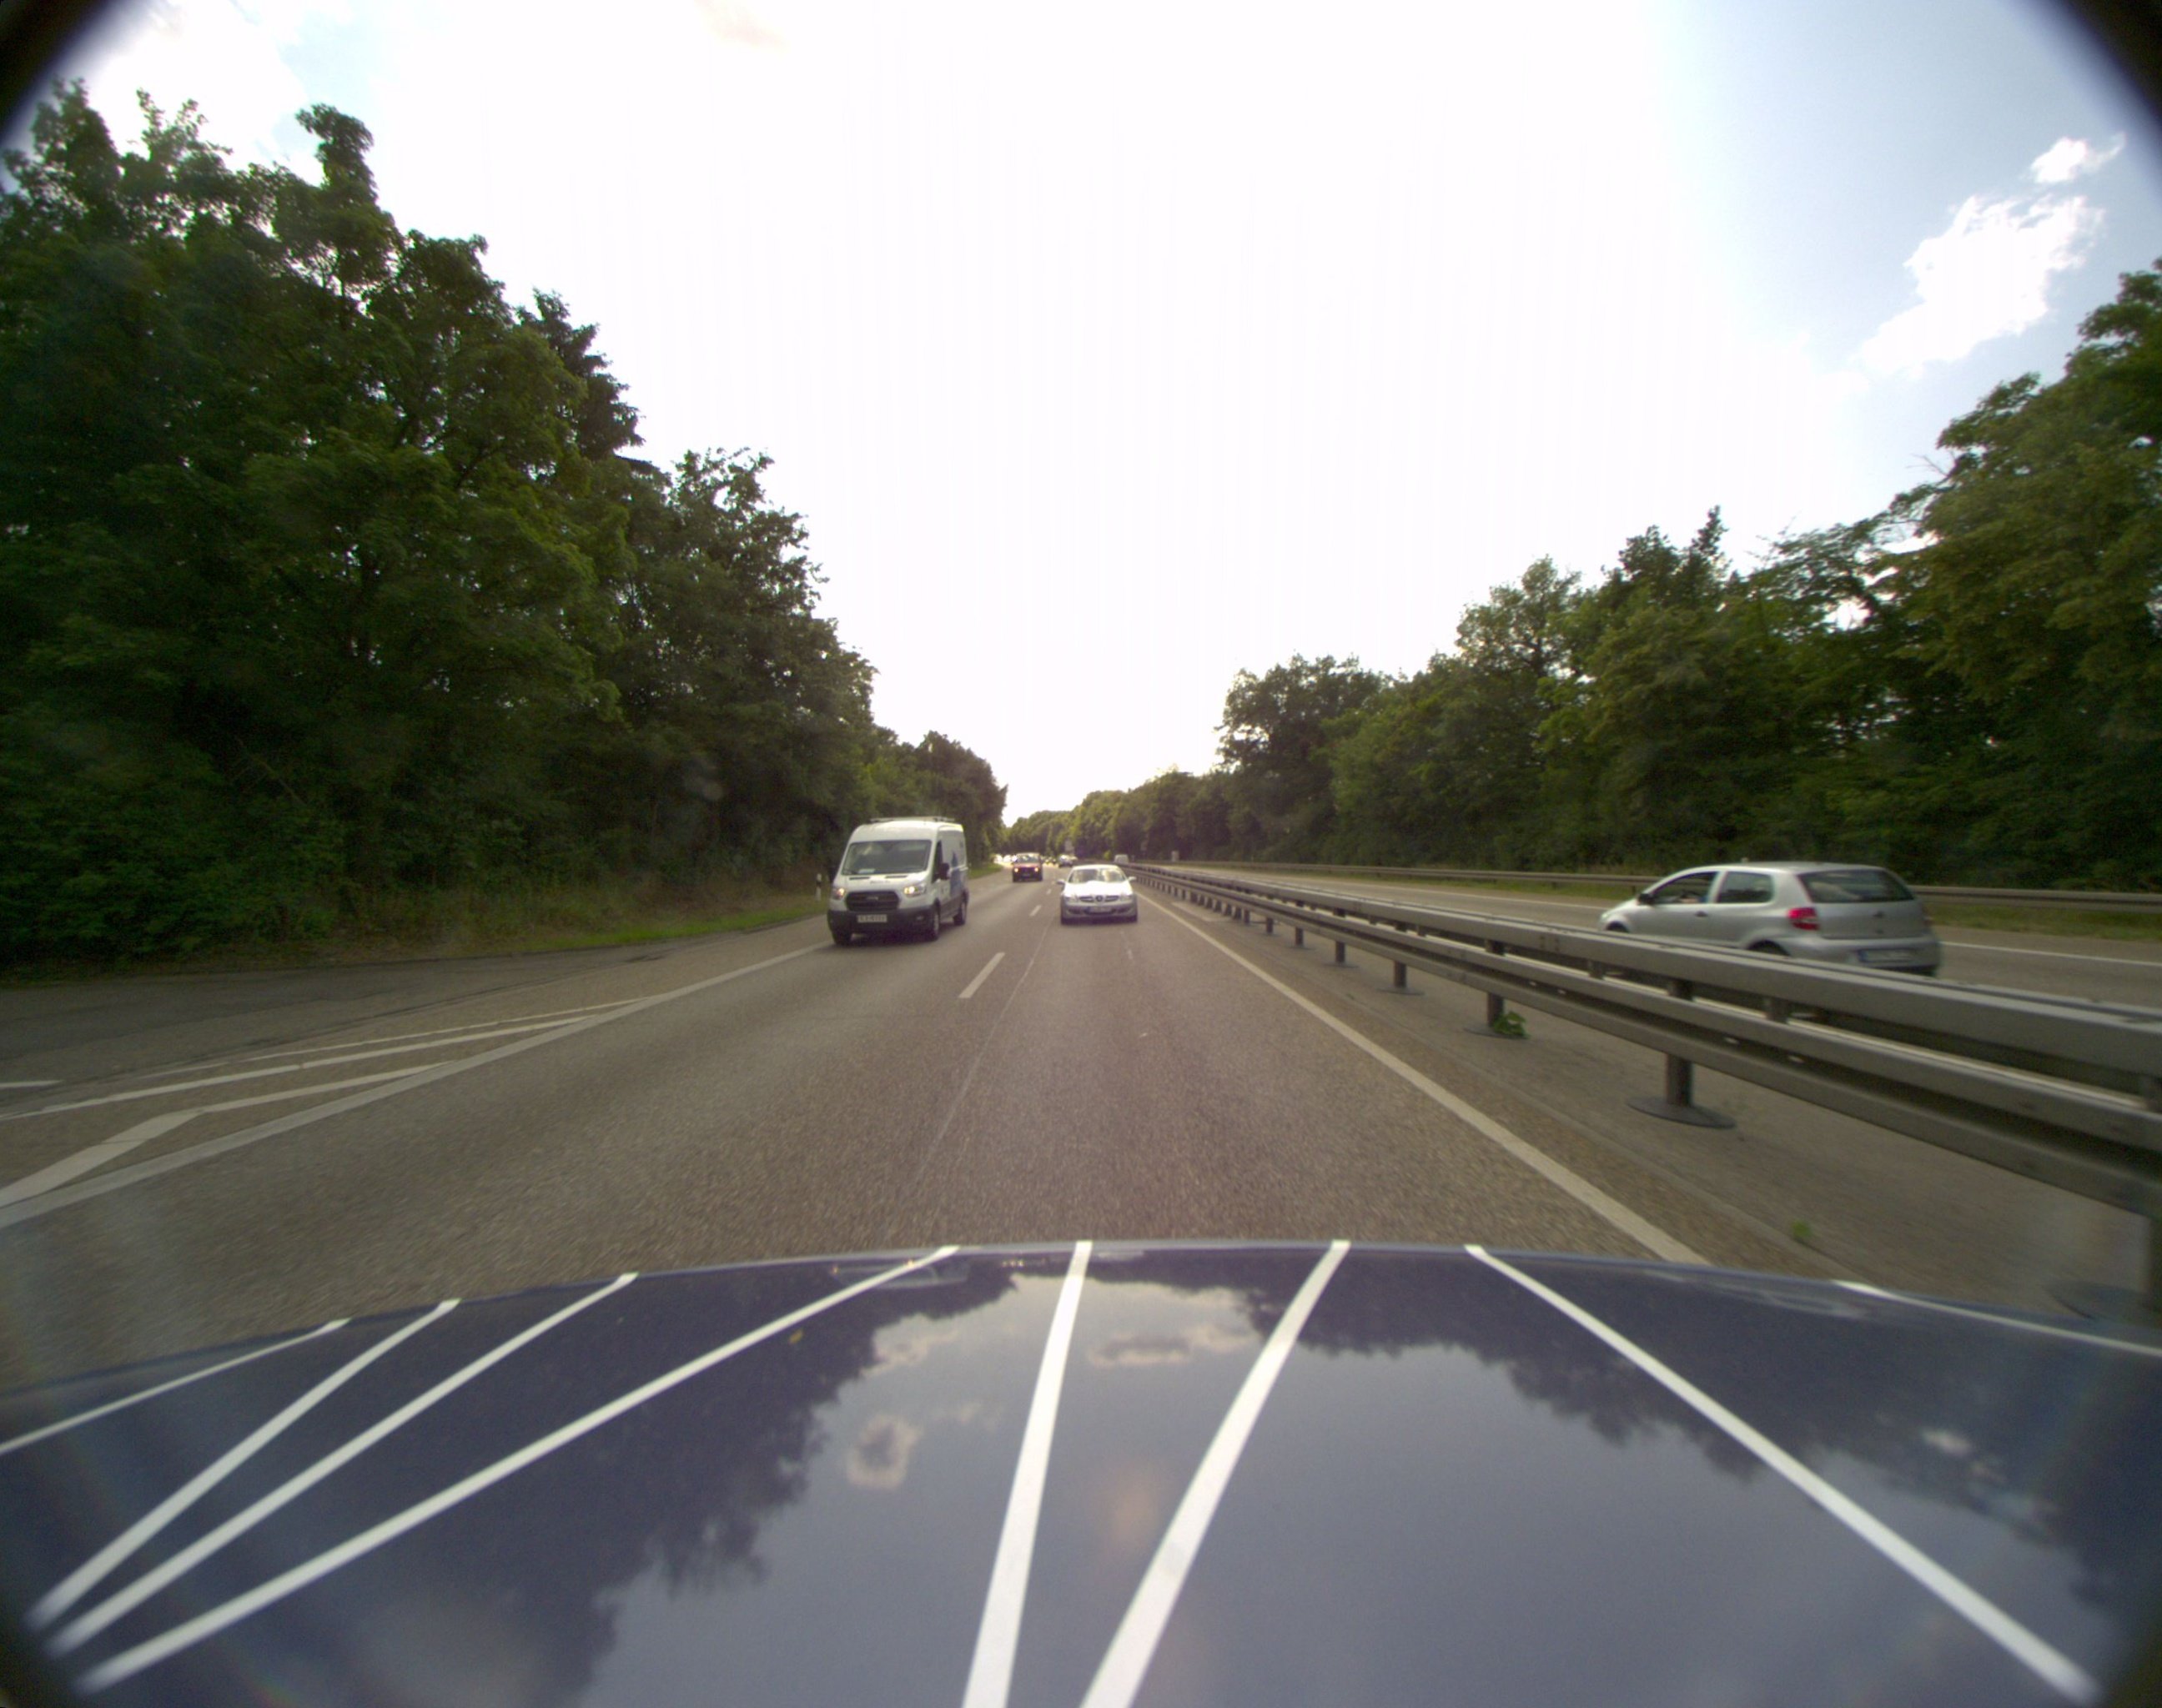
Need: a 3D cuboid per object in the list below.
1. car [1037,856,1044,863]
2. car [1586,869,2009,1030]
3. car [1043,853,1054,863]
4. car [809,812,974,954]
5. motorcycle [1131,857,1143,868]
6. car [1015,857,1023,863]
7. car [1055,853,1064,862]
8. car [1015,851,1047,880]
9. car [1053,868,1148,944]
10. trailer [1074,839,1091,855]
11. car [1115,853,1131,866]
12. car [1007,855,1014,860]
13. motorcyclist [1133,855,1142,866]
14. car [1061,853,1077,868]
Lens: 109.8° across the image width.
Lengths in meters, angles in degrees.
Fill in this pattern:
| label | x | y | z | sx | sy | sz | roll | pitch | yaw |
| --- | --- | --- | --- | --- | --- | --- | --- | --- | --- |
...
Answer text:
| label | x | y | z | sx | sy | sz | roll | pitch | yaw |
| --- | --- | --- | --- | --- | --- | --- | --- | --- | --- |
| car | -9.107 | 1.197 | 170.478 | 1.700 | 1.579 | 3.998 | 0 | 0 | -4 |
| car | 8.745 | 1.030 | 9.871 | 1.710 | 1.559 | 4.031 | -1 | 0 | 0 |
| car | -6.369 | 0.745 | 148.799 | 2.000 | 2.002 | 3.997 | -1 | 0 | -6 |
| car | -3.796 | 0.527 | 16.397 | 2.104 | 2.493 | 5.279 | -2 | 0 | 1 |
| motorcycle | 6.104 | 0.933 | 82.607 | 1.002 | 1.194 | 2.997 | -1 | 0 | -1 |
| car | -15.101 | 1.415 | 185.156 | 1.786 | 1.512 | 3.998 | -1 | 0 | -4 |
| car | -3.731 | 0.599 | 131.802 | 1.473 | 1.560 | 3.293 | 0 | 0 | -3 |
| car | -3.330 | 0.757 | 50.926 | 1.909 | 1.795 | 4.394 | -2 | 0 | -2 |
| car | 0.370 | 1.035 | 17.069 | 1.751 | 1.295 | 5.223 | -2 | 0 | 0 |
| trailer | 0.274 | -1.791 | 195.191 | 3.414 | 4.056 | 12.973 | -2 | 1 | -4 |
| car | 5.753 | 0.748 | 104.713 | 1.849 | 1.808 | 5.477 | -1 | 0 | -1 |
| car | -21.520 | 1.050 | 231.812 | 1.786 | 1.512 | 3.998 | -1 | 0 | -6 |
| motorcyclist | 6.117 | 0.686 | 82.463 | 0.827 | 1.219 | 0.720 | -1 | 1 | -1 |
| car | -1.618 | 0.811 | 103.014 | 1.998 | 2.002 | 4.000 | -1 | 0 | 1 |
